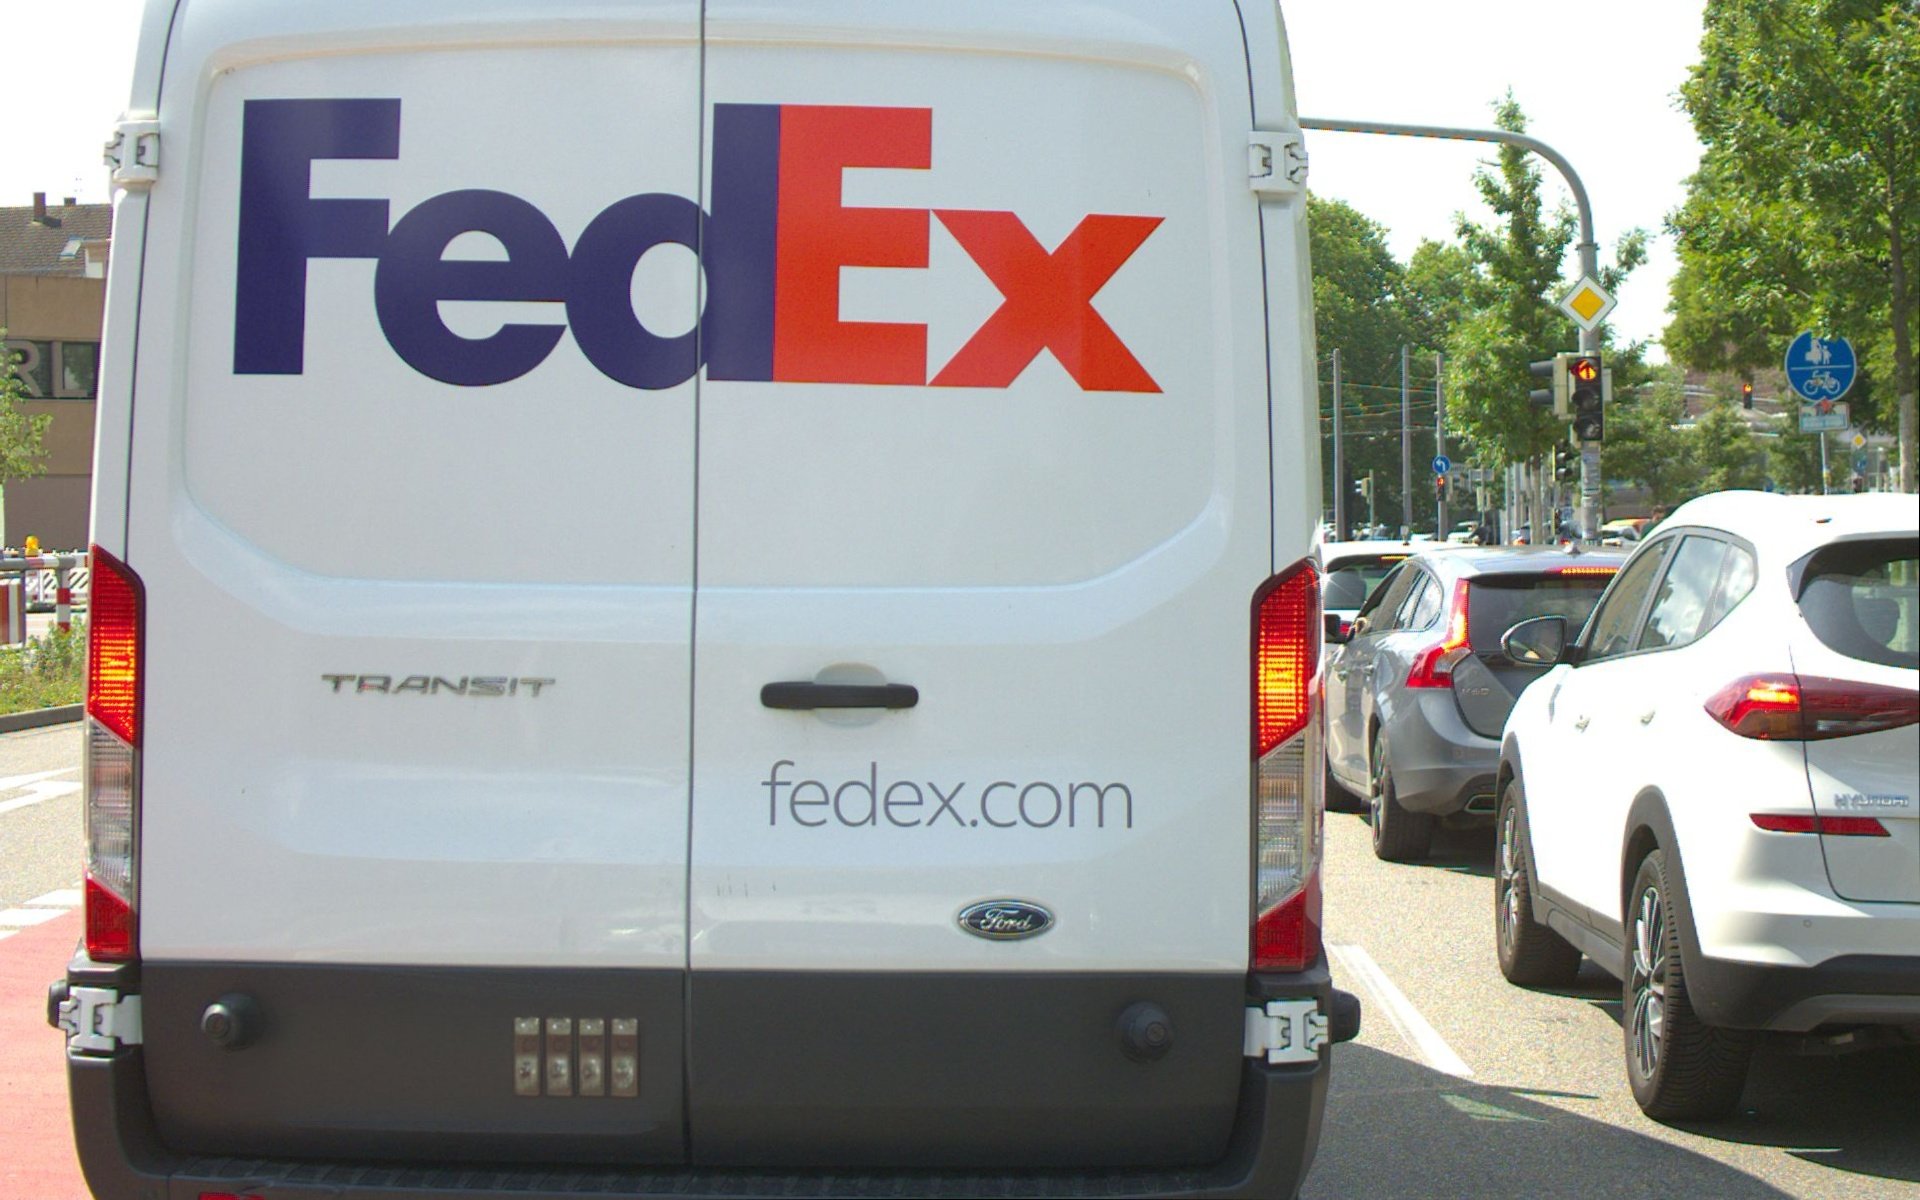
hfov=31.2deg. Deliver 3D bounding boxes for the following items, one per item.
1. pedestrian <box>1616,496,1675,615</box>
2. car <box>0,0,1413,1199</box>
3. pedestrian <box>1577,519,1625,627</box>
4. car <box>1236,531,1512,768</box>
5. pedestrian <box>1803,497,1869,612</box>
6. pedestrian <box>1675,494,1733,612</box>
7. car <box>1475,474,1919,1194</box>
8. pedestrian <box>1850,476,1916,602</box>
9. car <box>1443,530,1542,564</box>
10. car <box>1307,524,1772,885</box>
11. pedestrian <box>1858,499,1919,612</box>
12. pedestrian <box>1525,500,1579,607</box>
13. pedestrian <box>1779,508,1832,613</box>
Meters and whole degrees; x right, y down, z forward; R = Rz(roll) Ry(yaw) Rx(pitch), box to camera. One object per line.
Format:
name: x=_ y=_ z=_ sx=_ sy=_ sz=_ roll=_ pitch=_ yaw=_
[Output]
pedestrian: x=10.738 y=-0.699 z=53.891 sx=0.759 sy=1.843 sz=0.816 roll=-1 pitch=1 yaw=1
car: x=-0.350 y=0.075 z=7.196 sx=2.072 sy=2.572 sz=4.428 roll=0 pitch=1 yaw=1
pedestrian: x=11.012 y=-0.467 z=59.041 sx=0.759 sy=1.843 sz=0.816 roll=0 pitch=1 yaw=15
car: x=2.733 y=0.277 z=23.284 sx=1.499 sy=1.459 sz=3.474 roll=0 pitch=1 yaw=1
pedestrian: x=14.261 y=-0.745 z=55.957 sx=0.758 sy=1.843 sz=0.816 roll=-1 pitch=1 yaw=-10
pedestrian: x=11.715 y=-0.749 z=54.153 sx=0.759 sy=1.843 sz=0.816 roll=-1 pitch=1 yaw=3
car: x=2.671 y=0.489 z=9.960 sx=1.814 sy=1.673 sz=3.974 roll=0 pitch=1 yaw=1
pedestrian: x=13.167 y=-0.870 z=49.070 sx=0.759 sy=1.783 sz=0.816 roll=0 pitch=1 yaw=4
car: x=24.452 y=-2.449 z=157.921 sx=4.232 sy=1.493 sz=1.741 roll=-1 pitch=1 yaw=-1
car: x=2.707 y=0.416 z=16.802 sx=1.691 sy=1.543 sz=3.720 roll=0 pitch=1 yaw=1
pedestrian: x=15.239 y=-0.733 z=56.309 sx=0.758 sy=1.843 sz=0.816 roll=-1 pitch=1 yaw=-8
pedestrian: x=10.318 y=-0.815 z=59.936 sx=0.813 sy=1.843 sz=0.761 roll=-1 pitch=1 yaw=3
pedestrian: x=15.064 y=-0.706 z=61.264 sx=0.759 sy=1.843 sz=0.816 roll=-1 pitch=1 yaw=1
